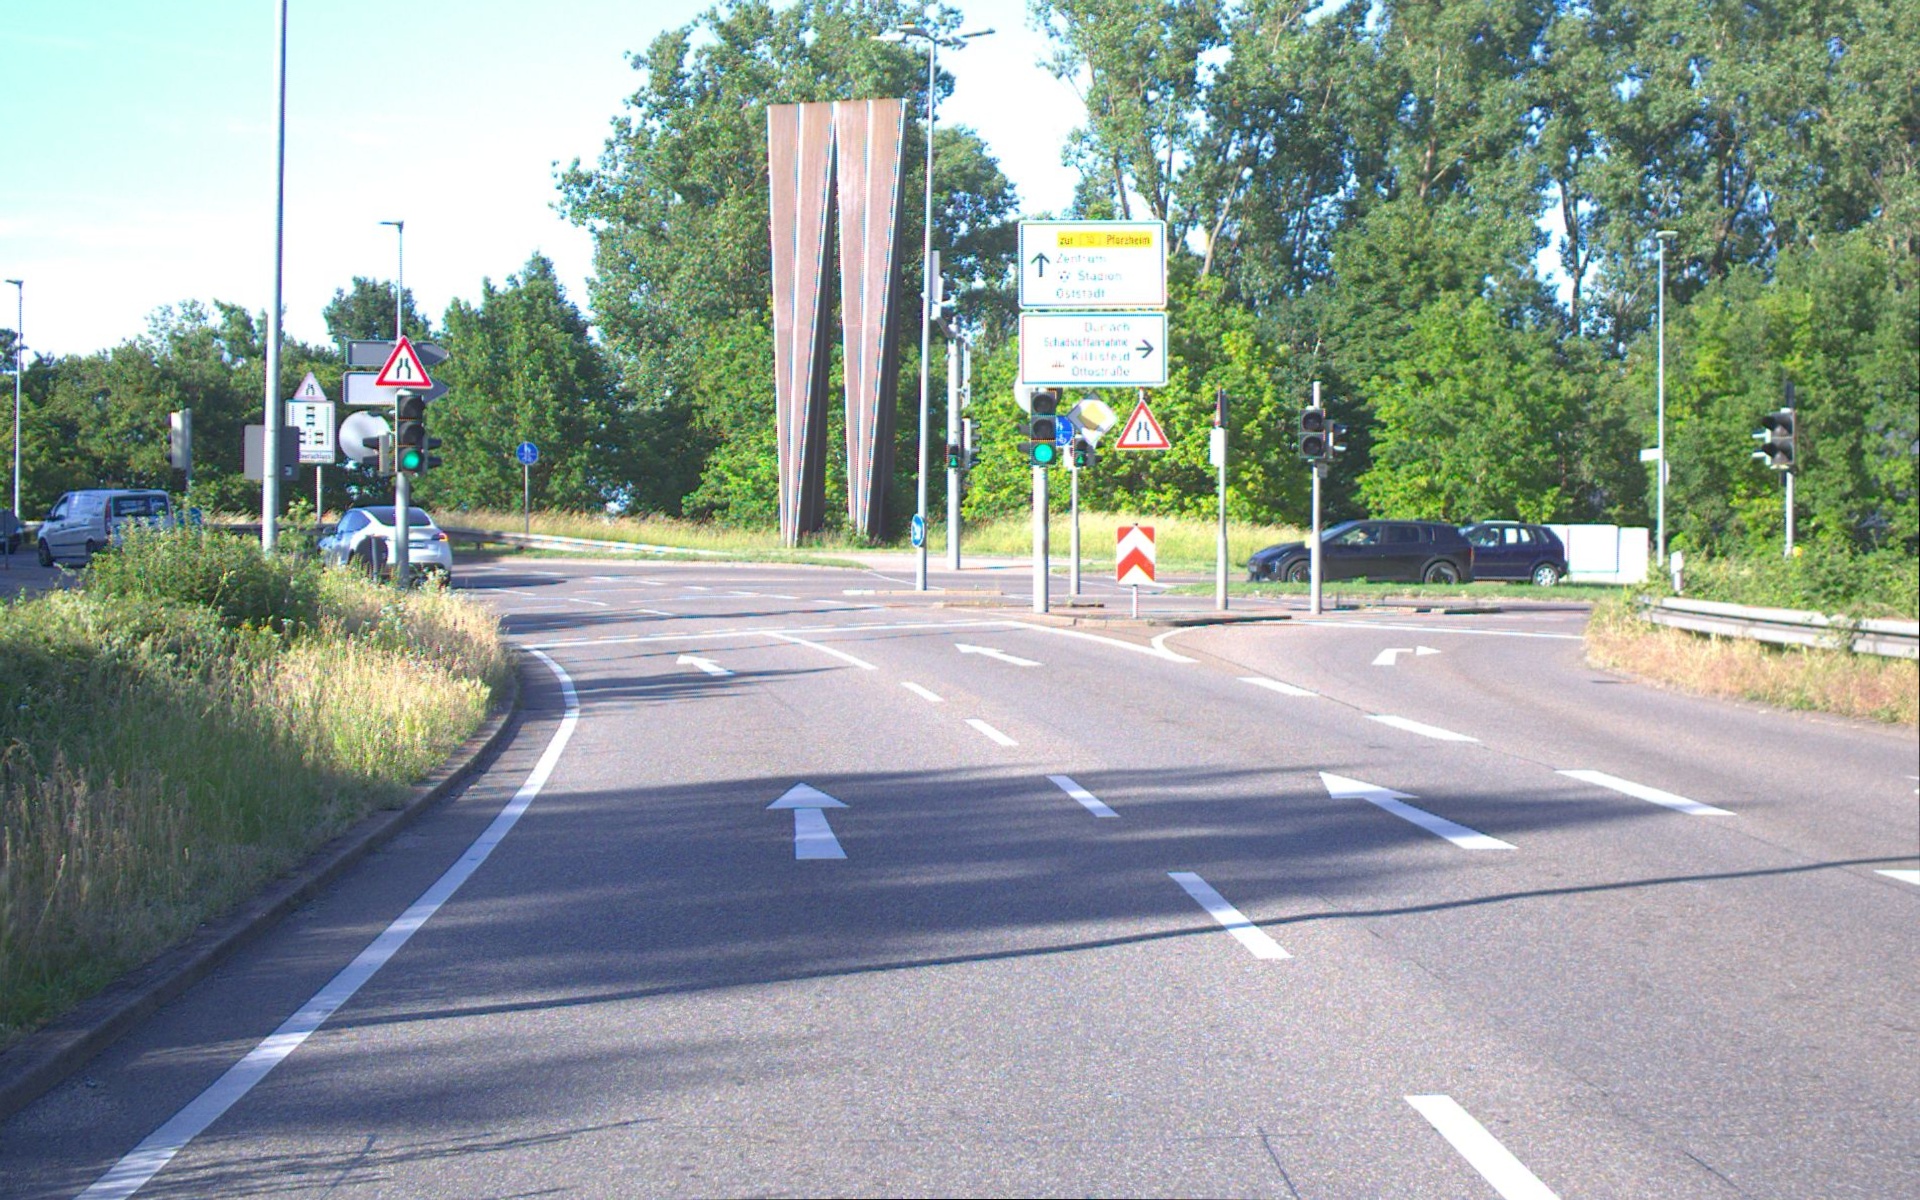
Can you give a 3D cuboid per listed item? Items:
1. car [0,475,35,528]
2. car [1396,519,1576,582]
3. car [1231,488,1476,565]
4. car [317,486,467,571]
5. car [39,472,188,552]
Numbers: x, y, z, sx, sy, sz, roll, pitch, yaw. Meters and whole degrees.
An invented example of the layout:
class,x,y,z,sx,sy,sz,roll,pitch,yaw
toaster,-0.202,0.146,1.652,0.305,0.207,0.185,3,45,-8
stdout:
class,x,y,z,sx,sy,sz,roll,pitch,yaw
car,-28.095,-2.807,97.207,1.970,1.469,4.152,-2,3,-44
car,11.648,-1.108,76.285,3.691,1.382,1.610,0,1,-3
car,7.808,-1.464,68.473,4.457,1.459,2.001,0,2,-9
car,-11.440,-1.468,69.093,1.993,1.634,4.129,-1,2,-24
car,-20.533,-2.147,83.299,1.994,1.873,4.248,-2,2,-37
